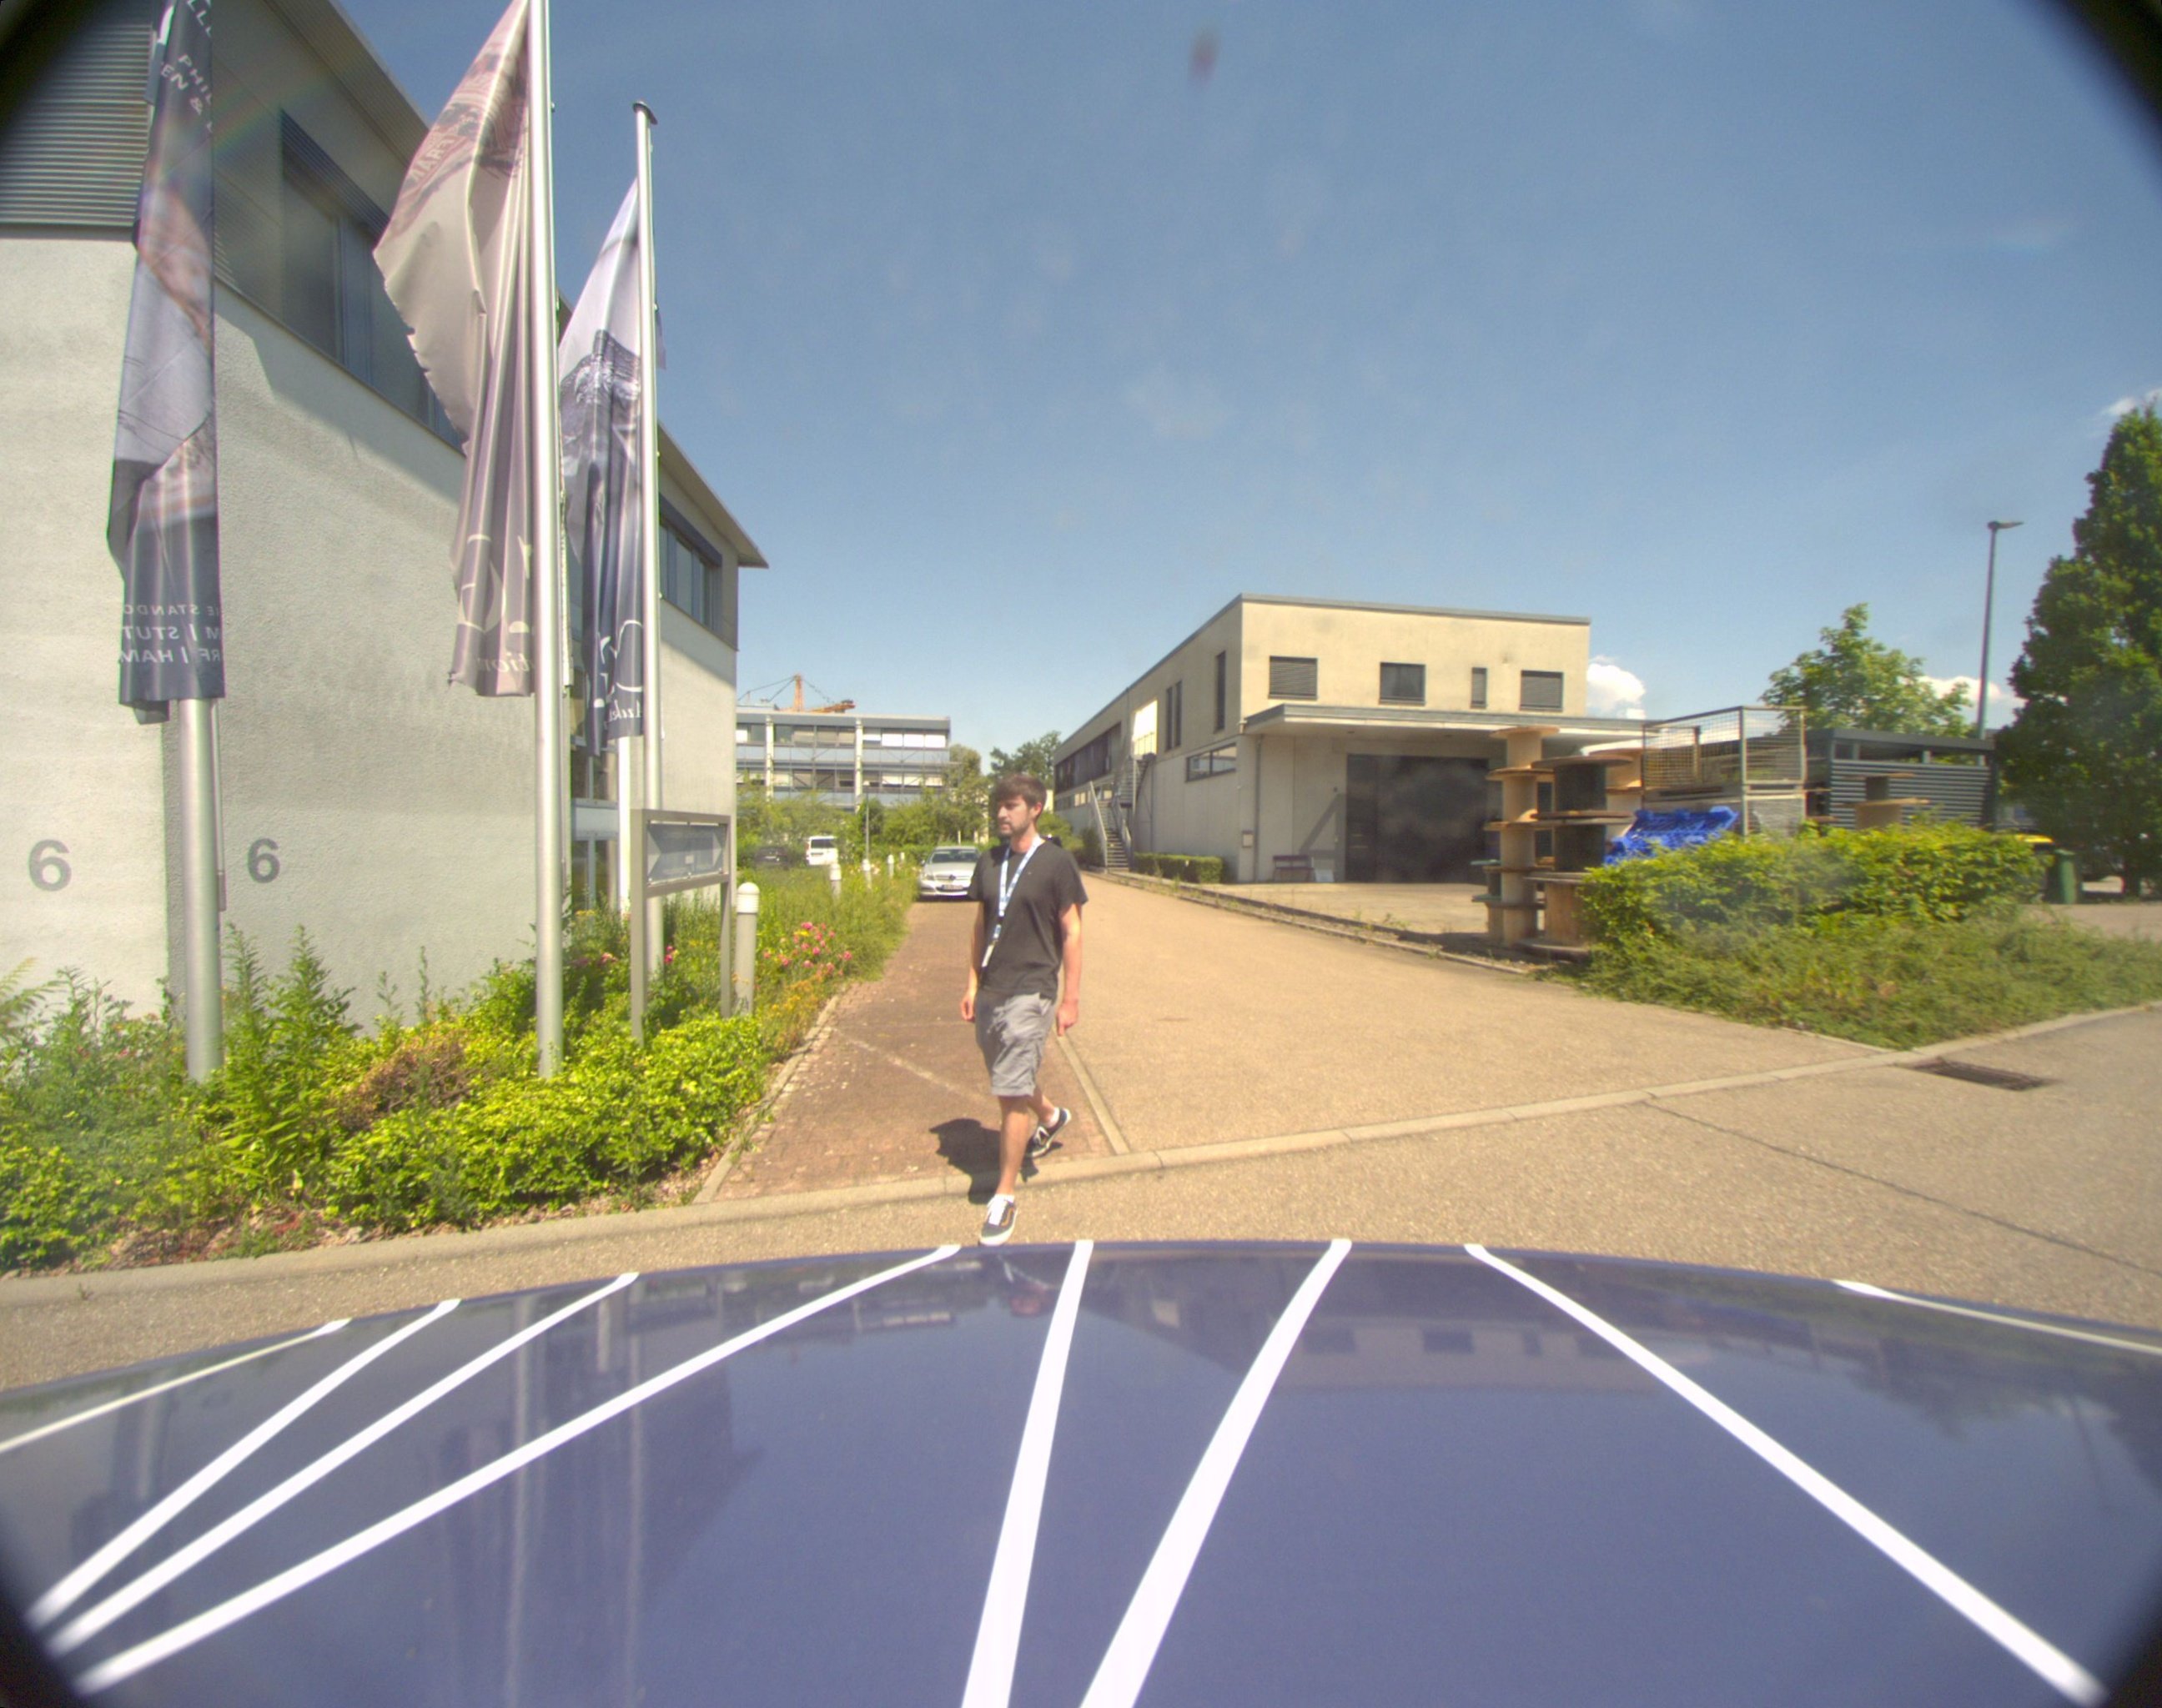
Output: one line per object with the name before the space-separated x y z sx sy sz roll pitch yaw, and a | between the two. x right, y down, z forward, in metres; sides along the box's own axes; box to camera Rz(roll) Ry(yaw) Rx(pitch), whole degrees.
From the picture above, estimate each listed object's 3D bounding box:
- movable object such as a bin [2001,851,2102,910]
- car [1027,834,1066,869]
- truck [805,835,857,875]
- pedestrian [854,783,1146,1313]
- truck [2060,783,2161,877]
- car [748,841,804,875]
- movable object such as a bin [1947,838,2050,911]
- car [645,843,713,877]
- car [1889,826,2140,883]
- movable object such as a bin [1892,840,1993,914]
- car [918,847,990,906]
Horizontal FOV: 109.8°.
movable object such as a bin | 18.712 0.488 14.667 0.988 1.078 0.759 -1 2 -5
car | -1.945 -0.196 41.826 1.788 1.794 3.996 -1 2 -8
truck | -12.801 -0.002 39.105 2.000 1.883 3.995 -1 2 -11
pedestrian | -0.272 0.657 3.134 0.859 1.810 0.905 0 2 18
truck | 33.206 -0.759 22.698 5.698 2.657 2.416 -1 2 -9
car | -15.715 0.160 39.303 1.789 1.537 3.995 -1 2 -9
movable object such as a bin | 17.604 0.375 14.599 1.072 1.329 0.759 -1 2 -5
car | -20.336 0.259 38.589 1.789 1.537 3.995 -1 2 -9
car | 27.082 -0.039 22.312 1.959 1.505 4.256 -1 1 -5
movable object such as a bin | 16.270 0.415 14.373 1.072 1.329 0.759 -1 2 -5
car | -3.386 0.539 20.795 1.712 1.383 3.808 0 2 -6
